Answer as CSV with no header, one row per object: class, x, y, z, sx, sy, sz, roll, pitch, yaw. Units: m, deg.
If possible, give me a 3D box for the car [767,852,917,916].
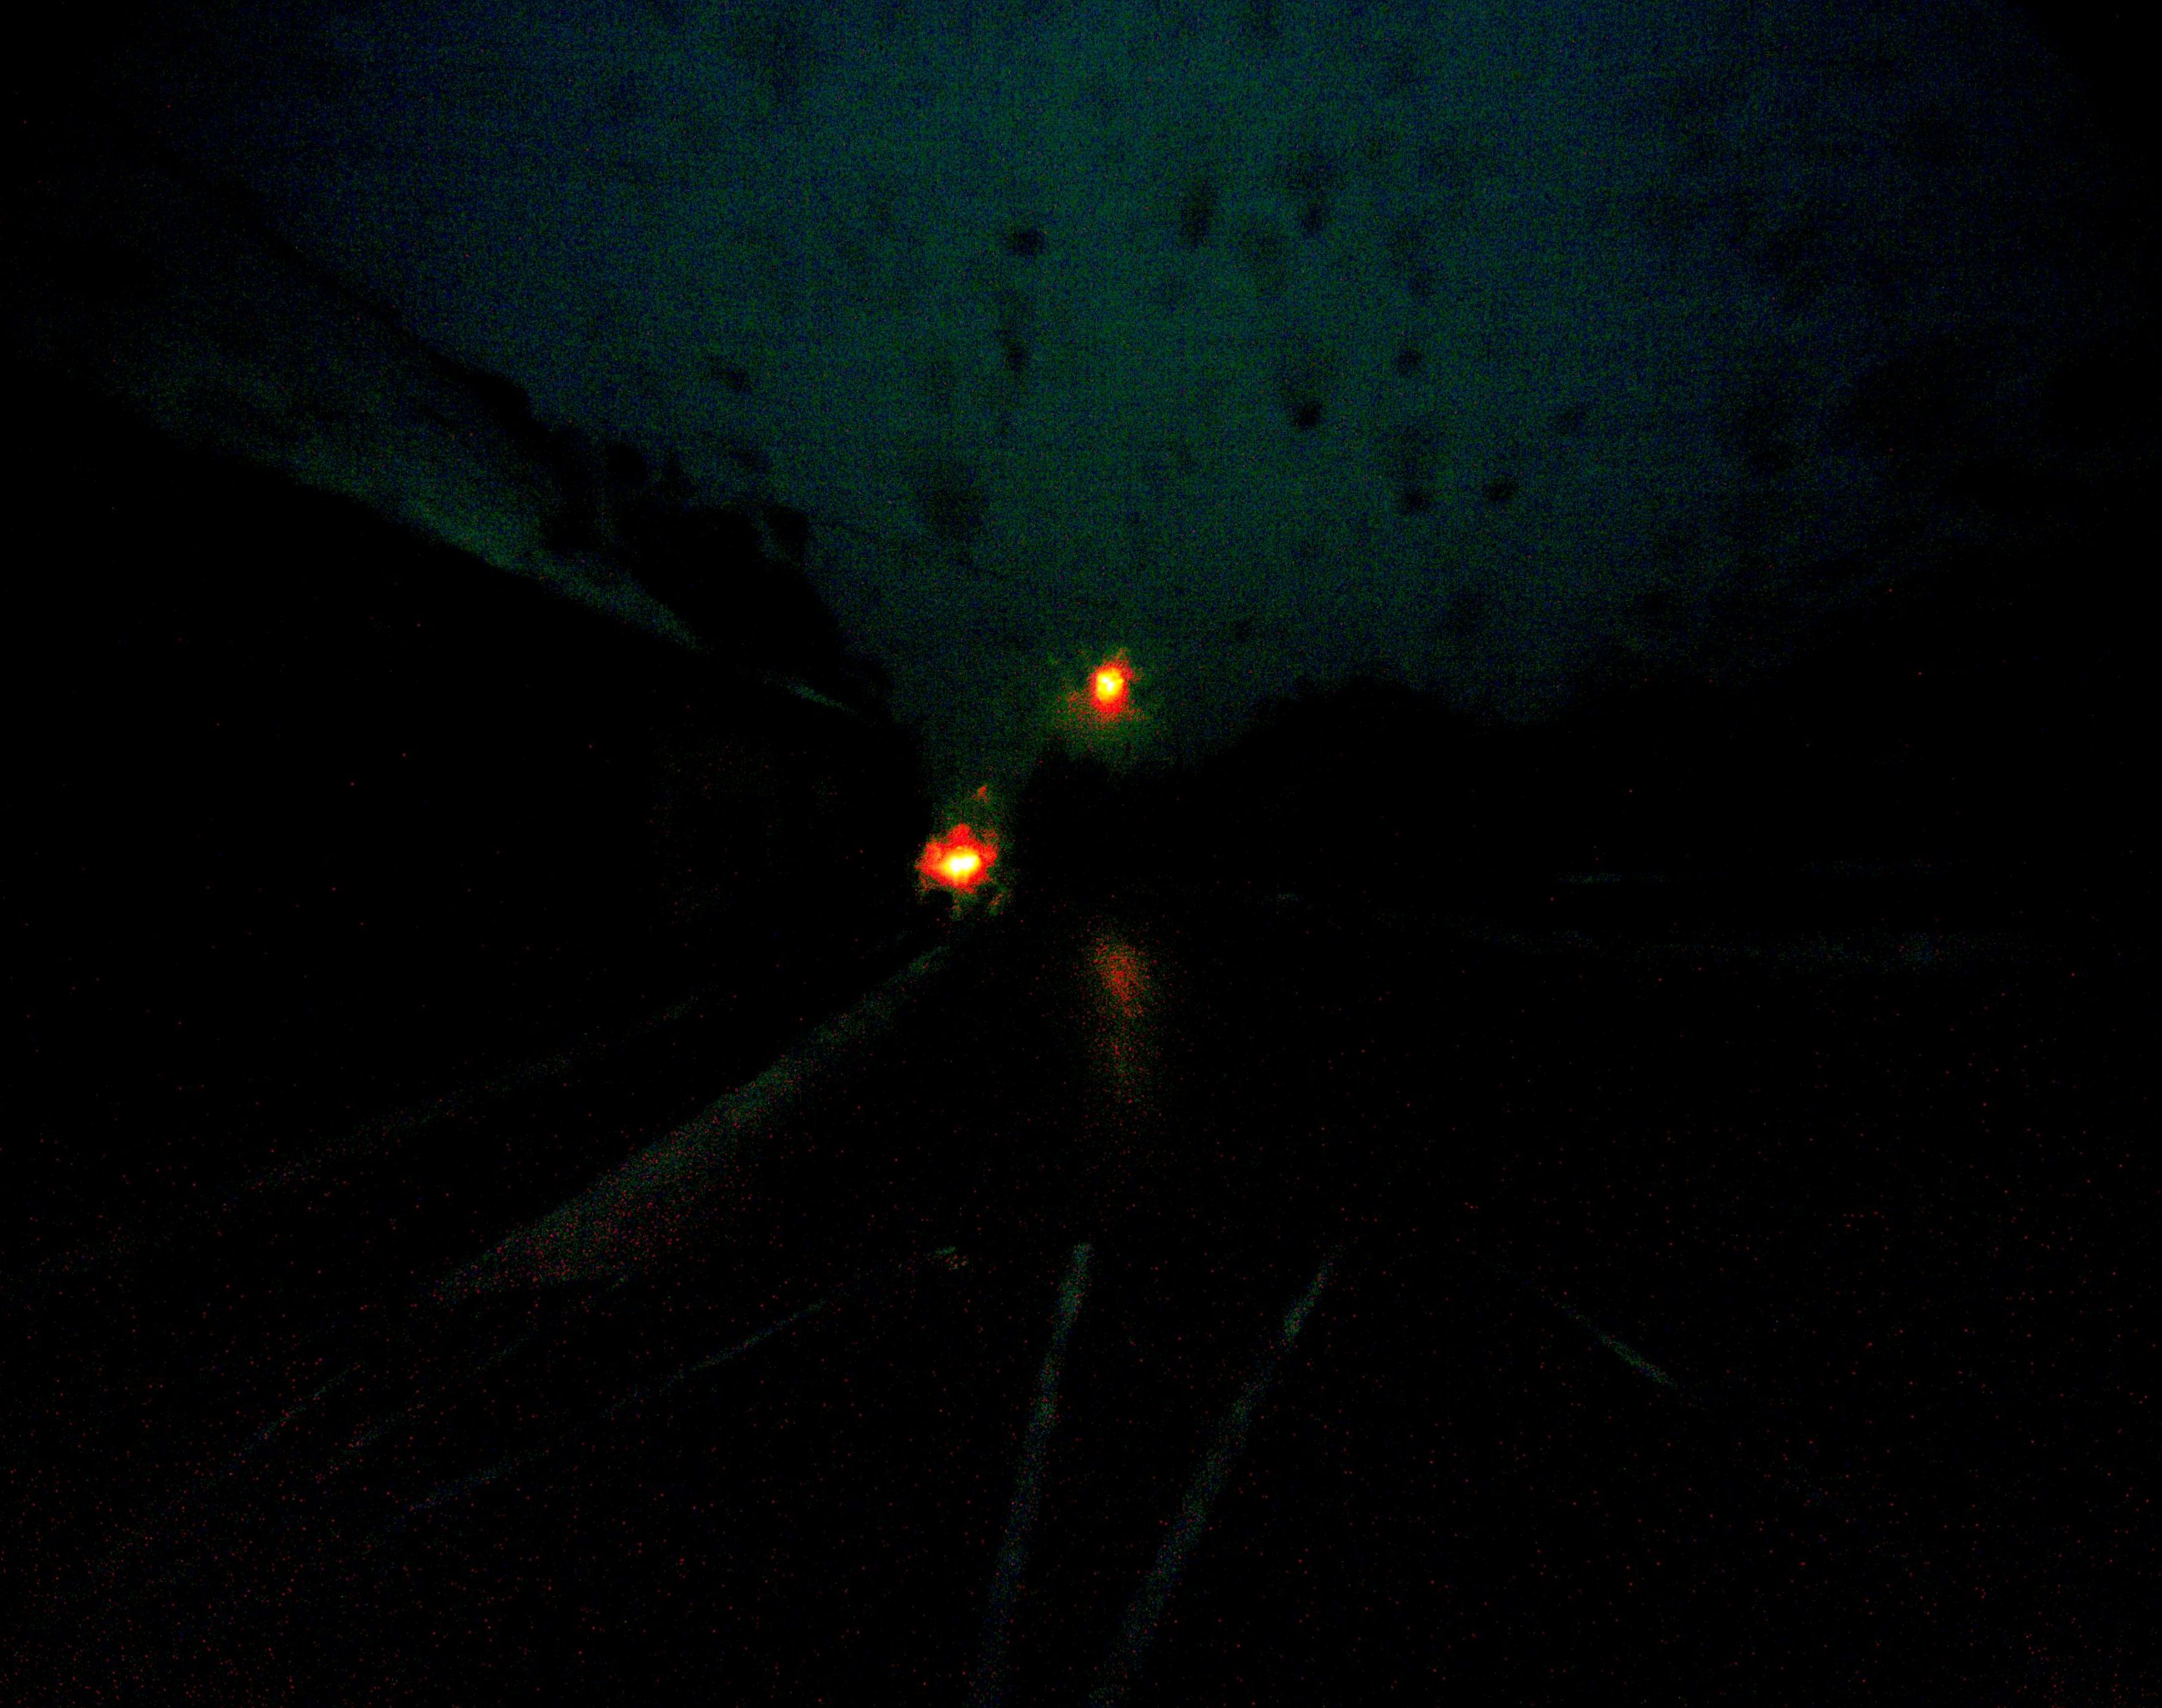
car,-7.173,0.853,22.762,4.004,1.528,1.996,-4,1,-24
